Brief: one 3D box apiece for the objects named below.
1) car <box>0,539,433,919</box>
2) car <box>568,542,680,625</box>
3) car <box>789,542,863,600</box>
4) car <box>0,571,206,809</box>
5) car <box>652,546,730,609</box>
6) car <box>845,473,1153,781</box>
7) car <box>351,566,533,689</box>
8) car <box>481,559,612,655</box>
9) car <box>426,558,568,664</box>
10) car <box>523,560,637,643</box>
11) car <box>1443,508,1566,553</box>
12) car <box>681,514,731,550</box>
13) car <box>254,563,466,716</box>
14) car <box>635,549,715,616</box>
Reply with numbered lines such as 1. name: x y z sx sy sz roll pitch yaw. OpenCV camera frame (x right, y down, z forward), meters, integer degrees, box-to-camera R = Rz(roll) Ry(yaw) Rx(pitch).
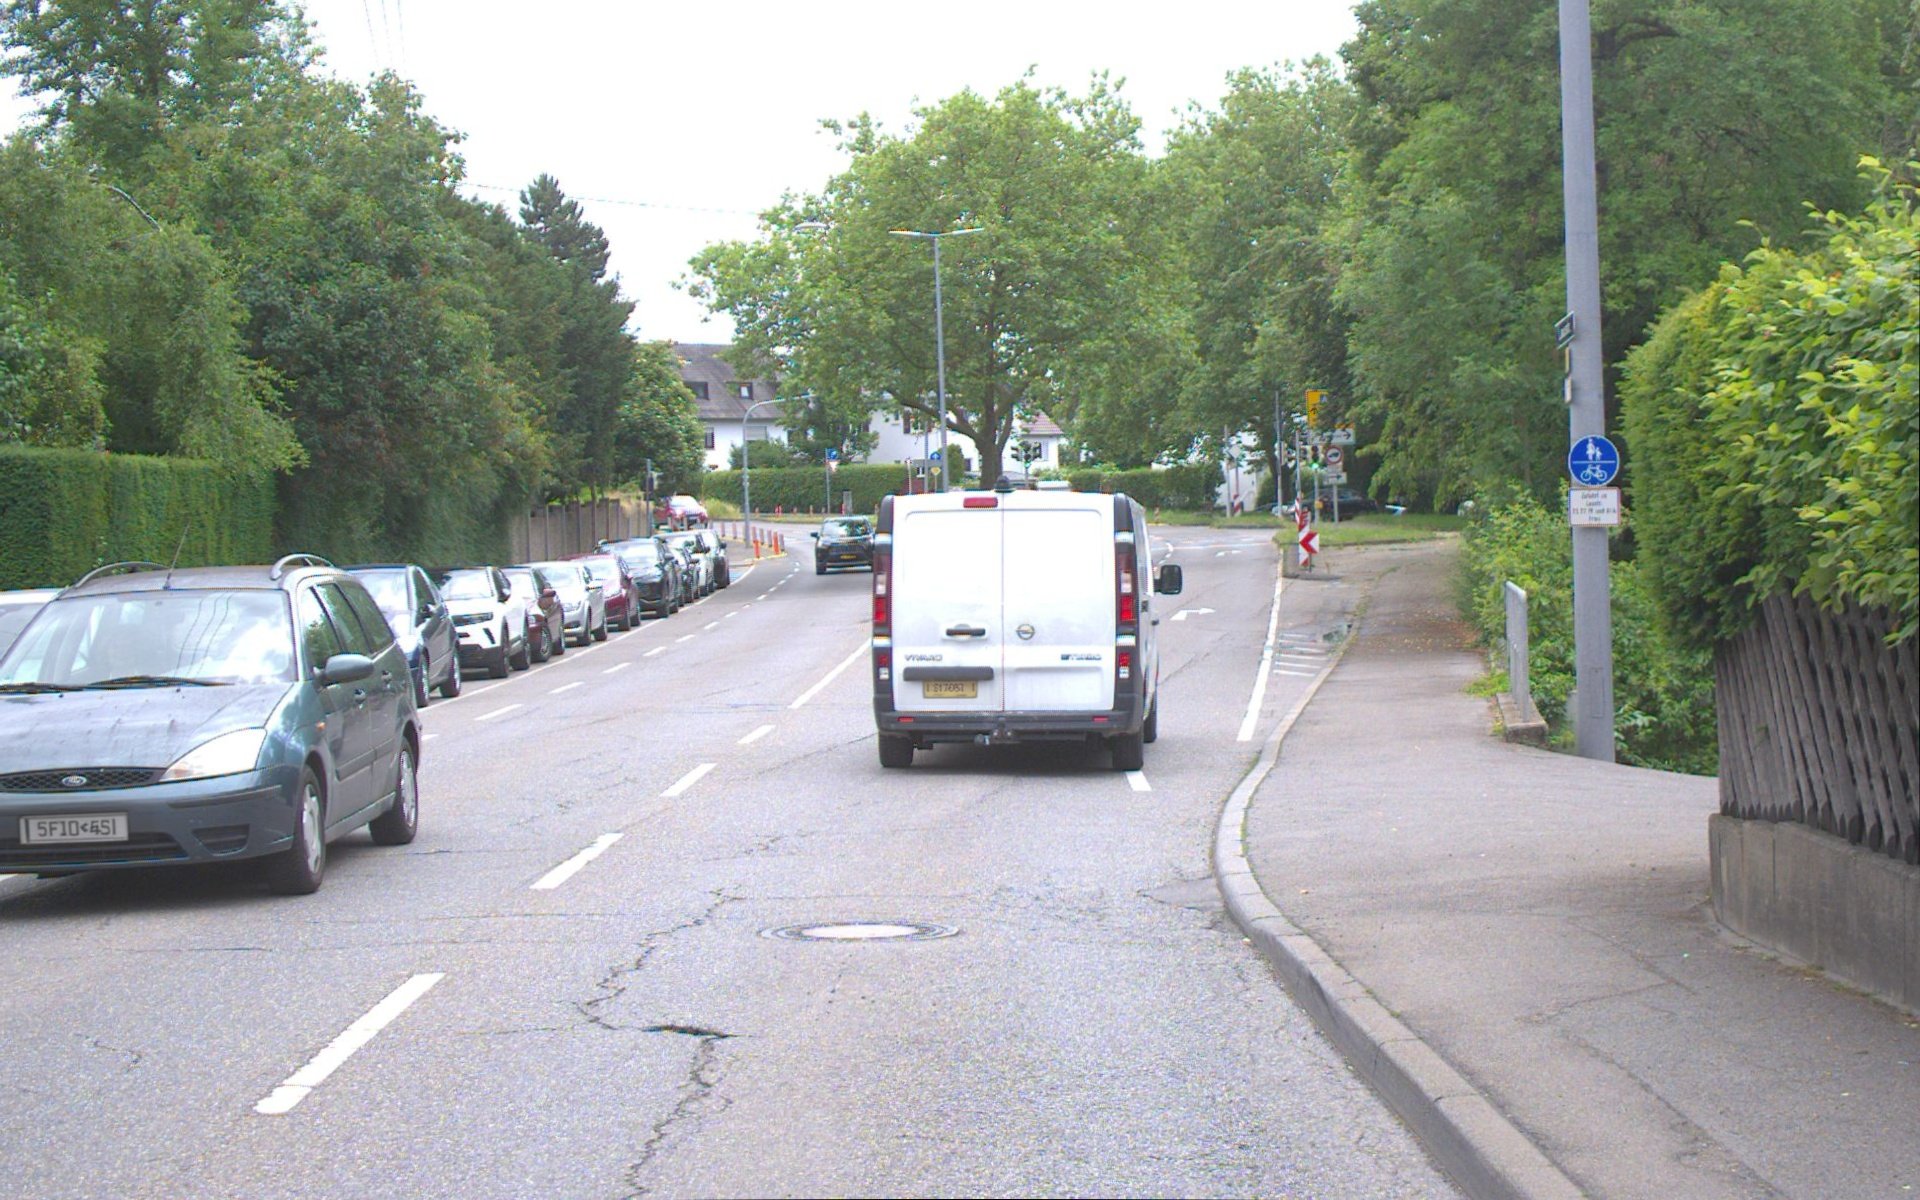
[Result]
1. car: -3.755 0.511 16.501 1.734 1.548 4.447 -2 1 0
2. car: -7.047 -0.374 72.407 1.993 1.637 4.467 -2 1 -2
3. car: -3.963 -0.861 102.352 1.842 1.641 4.213 -2 0 2
4. car: -6.621 0.598 23.937 1.809 1.450 4.414 -4 1 -2
5. car: -7.341 -0.633 94.177 1.887 1.619 4.431 -1 1 -2
6. car: 0.398 0.149 25.518 2.006 2.031 5.009 1 1 4
7. car: -6.997 0.335 46.794 1.889 1.489 4.027 -3 1 -1
8. car: -7.012 0.092 58.624 1.669 1.483 4.431 -3 1 0
9. car: -7.008 0.141 52.299 1.669 1.473 3.911 -2 1 -1
10. car: -7.203 0.007 65.427 1.779 1.433 4.000 -2 1 -1
11. car: 22.312 -2.847 140.818 4.729 1.763 2.000 -2 2 -29
12. car: -12.019 -3.216 162.872 1.998 1.582 3.998 -2 1 0
13. car: -6.734 0.414 38.952 1.678 1.551 3.971 -3 0 -1
14. car: -7.335 -0.470 88.834 1.672 1.586 4.096 -3 1 0
